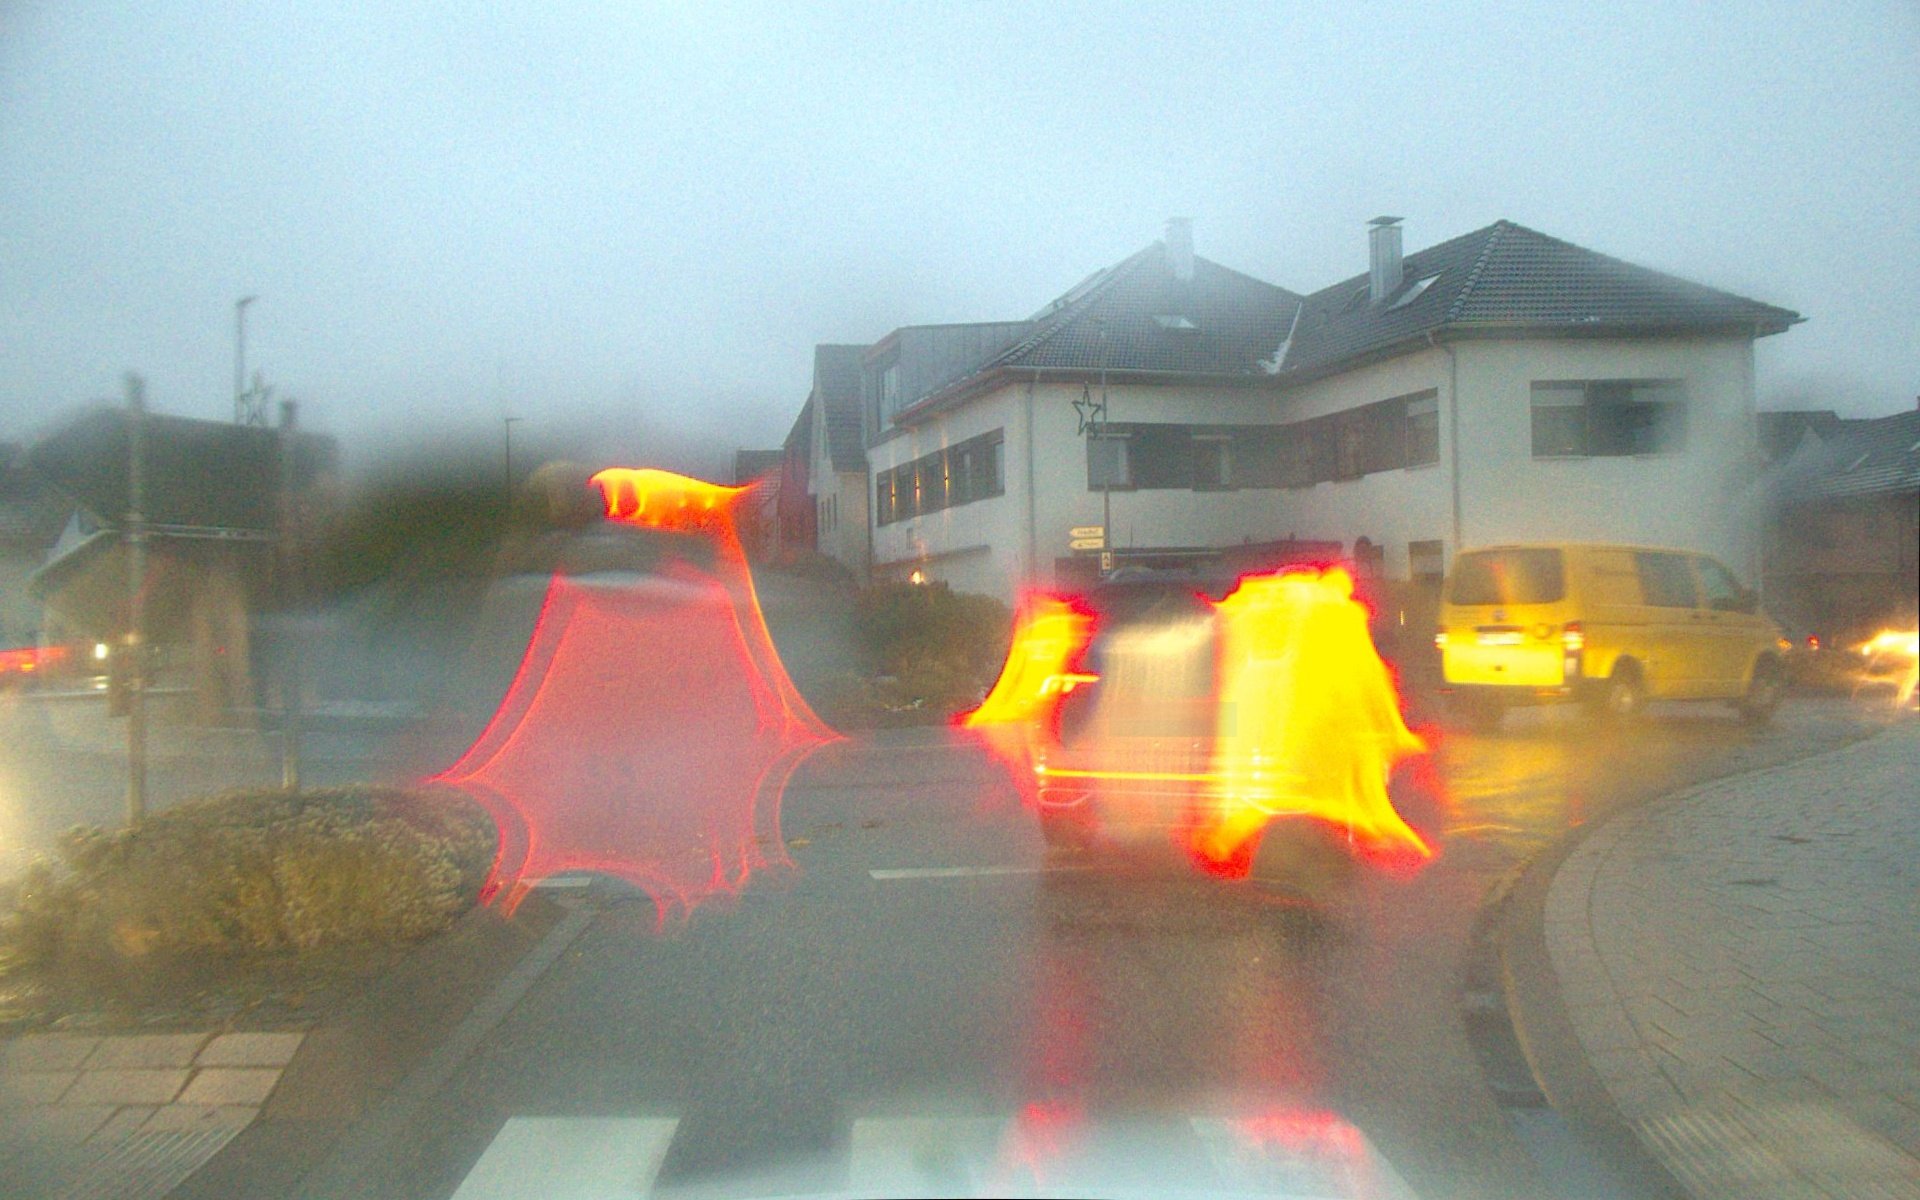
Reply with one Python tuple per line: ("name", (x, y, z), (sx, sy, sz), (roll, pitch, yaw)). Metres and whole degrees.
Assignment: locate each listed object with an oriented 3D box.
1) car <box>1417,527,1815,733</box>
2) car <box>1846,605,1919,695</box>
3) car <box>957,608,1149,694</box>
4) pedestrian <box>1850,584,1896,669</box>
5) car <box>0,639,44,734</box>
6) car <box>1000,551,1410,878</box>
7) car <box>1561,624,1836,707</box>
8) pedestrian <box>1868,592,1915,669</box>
("car", (7.496, 0.295, 18.695), (4.848, 2.049, 1.973), (0, -1, -37))
("car", (18.446, 0.882, 29.933), (3.906, 1.579, 1.696), (-1, -2, -2))
("car", (1.797, 0.974, 32.969), (1.764, 1.566, 3.881), (-1, 0, -37))
("pedestrian", (20.284, 0.576, 36.753), (0.700, 1.864, 0.638), (-1, 1, 6))
("car", (-19.299, 1.599, 30.362), (3.984, 1.691, 1.698), (-1, -1, -12))
("car", (1.745, 0.584, 10.474), (1.875, 1.643, 3.952), (-1, 0, 19))
("car", (13.242, 1.186, 29.805), (4.139, 1.408, 1.848), (0, -3, -5))
("pedestrian", (20.309, 0.664, 36.060), (0.700, 1.649, 0.583), (-1, 0, 6))
